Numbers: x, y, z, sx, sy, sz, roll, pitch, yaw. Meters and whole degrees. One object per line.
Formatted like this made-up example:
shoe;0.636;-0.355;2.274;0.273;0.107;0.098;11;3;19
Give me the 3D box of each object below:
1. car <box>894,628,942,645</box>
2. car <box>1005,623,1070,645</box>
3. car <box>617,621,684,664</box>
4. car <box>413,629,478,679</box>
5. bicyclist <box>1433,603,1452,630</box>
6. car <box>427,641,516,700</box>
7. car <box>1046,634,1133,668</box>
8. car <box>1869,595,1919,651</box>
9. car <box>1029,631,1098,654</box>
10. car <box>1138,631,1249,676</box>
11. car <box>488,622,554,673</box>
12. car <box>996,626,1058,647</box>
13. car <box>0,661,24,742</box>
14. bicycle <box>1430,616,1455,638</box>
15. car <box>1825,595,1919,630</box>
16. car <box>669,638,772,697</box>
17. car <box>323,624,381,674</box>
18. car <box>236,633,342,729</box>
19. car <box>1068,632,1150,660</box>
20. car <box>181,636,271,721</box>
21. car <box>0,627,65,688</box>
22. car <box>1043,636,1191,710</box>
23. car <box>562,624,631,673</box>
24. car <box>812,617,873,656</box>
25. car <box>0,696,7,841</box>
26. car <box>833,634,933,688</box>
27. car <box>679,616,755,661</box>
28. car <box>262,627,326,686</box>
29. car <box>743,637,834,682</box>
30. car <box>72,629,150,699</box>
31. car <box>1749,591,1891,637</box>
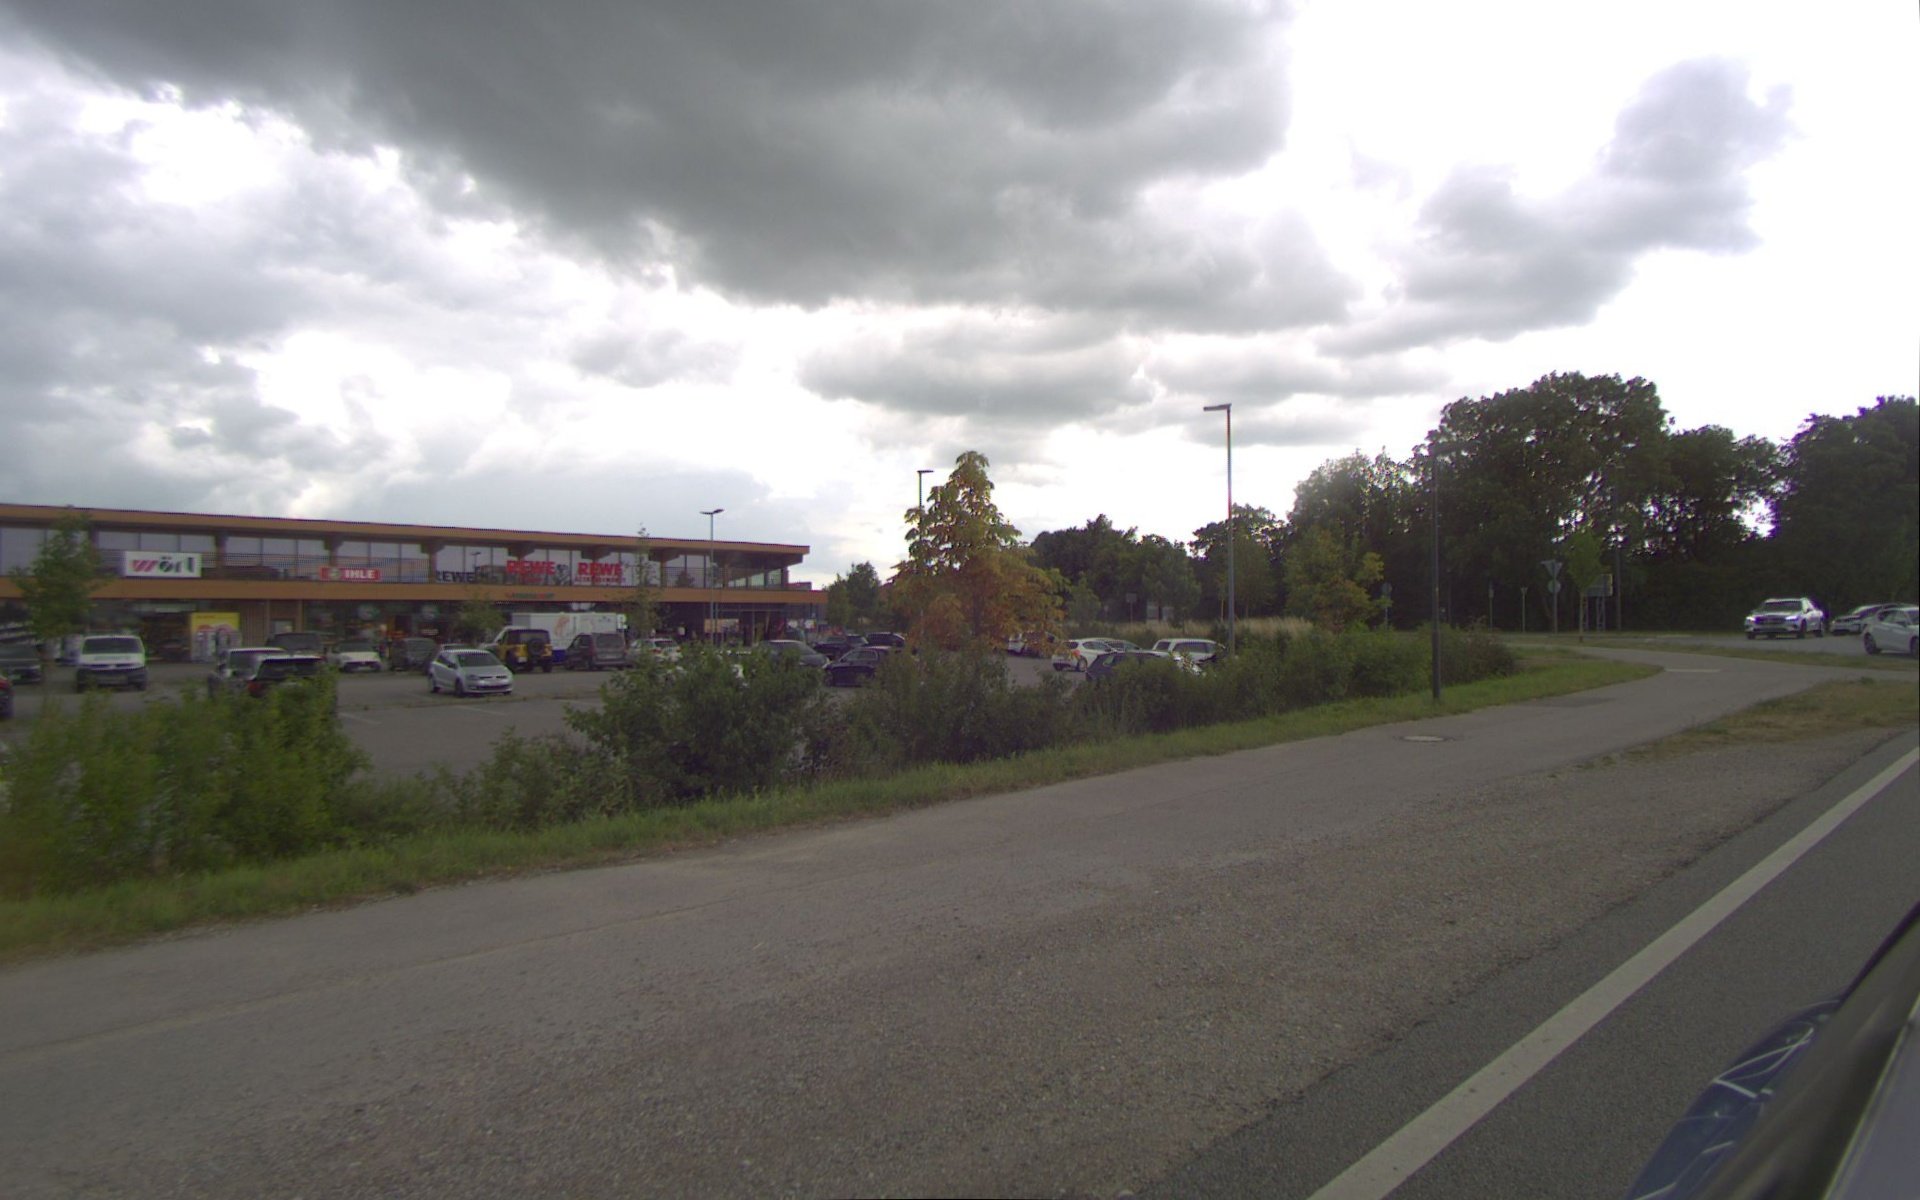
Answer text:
car;-3.634;3.170;88.109;3.916;1.377;1.705;1;0;-13
car;5.079;2.209;66.311;3.916;1.377;1.705;1;0;-13
car;-15.365;2.043;50.144;2.032;1.871;3.999;0;1;-36
car;-22.594;2.349;44.340;1.962;2.040;3.998;0;-2;-36
bicyclist;22.767;0.765;47.742;0.545;1.259;0.659;1;0;0
car;-16.181;2.255;33.433;1.962;1.571;4.131;0;1;-36
car;6.123;2.381;47.780;3.926;1.377;1.844;0;1;-37
car;27.982;0.631;28.569;1.846;1.561;4.175;-1;0;18
car;6.457;2.640;63.059;3.916;1.377;1.705;1;0;-13
car;9.663;2.182;42.007;4.154;1.738;1.705;1;0;-13
car;-20.087;2.118;46.218;1.962;2.039;3.999;0;1;-36
car;4.560;2.510;69.488;3.916;1.377;1.705;1;0;-13
car;-20.542;2.060;20.637;1.965;1.460;3.993;0;-1;-41
bicycle;22.756;1.258;47.735;0.557;0.974;1.301;1;0;0
car;42.391;0.552;46.415;3.697;1.538;2.001;1;0;-2
car;-7.630;2.080;32.095;1.723;1.552;3.554;0;1;-41
car;-27.968;2.196;46.503;1.962;2.039;3.999;0;1;-36
car;-16.198;1.837;24.350;1.962;1.894;4.274;0;1;-36
car;7.943;2.434;54.039;3.916;1.377;1.705;1;0;-13
car;-21.038;2.161;29.062;1.962;2.039;3.999;0;1;-36
car;-36.442;2.166;39.690;1.965;2.039;5.137;0;1;-41
car;4.342;1.979;28.431;1.629;1.727;3.993;0;1;-41
car;-17.173;2.250;47.724;2.032;2.039;3.999;0;1;-36
car;-6.756;2.053;58.032;1.961;2.039;4.003;0;1;-32
car;-11.624;2.038;11.054;1.647;1.557;3.761;0;1;-42
car;-2.731;2.112;35.268;1.771;1.728;3.385;0;-3;-41
car;-11.400;1.740;47.321;1.962;1.894;4.274;0;1;-36
car;-26.285;2.153;39.890;1.962;2.039;3.999;0;1;-36
car;-6.927;2.325;40.552;1.962;1.504;4.131;0;1;-36
car;-29.913;2.159;35.624;1.965;2.039;5.137;0;1;-41
car;34.143;0.504;40.316;3.965;1.705;1.979;1;0;30
